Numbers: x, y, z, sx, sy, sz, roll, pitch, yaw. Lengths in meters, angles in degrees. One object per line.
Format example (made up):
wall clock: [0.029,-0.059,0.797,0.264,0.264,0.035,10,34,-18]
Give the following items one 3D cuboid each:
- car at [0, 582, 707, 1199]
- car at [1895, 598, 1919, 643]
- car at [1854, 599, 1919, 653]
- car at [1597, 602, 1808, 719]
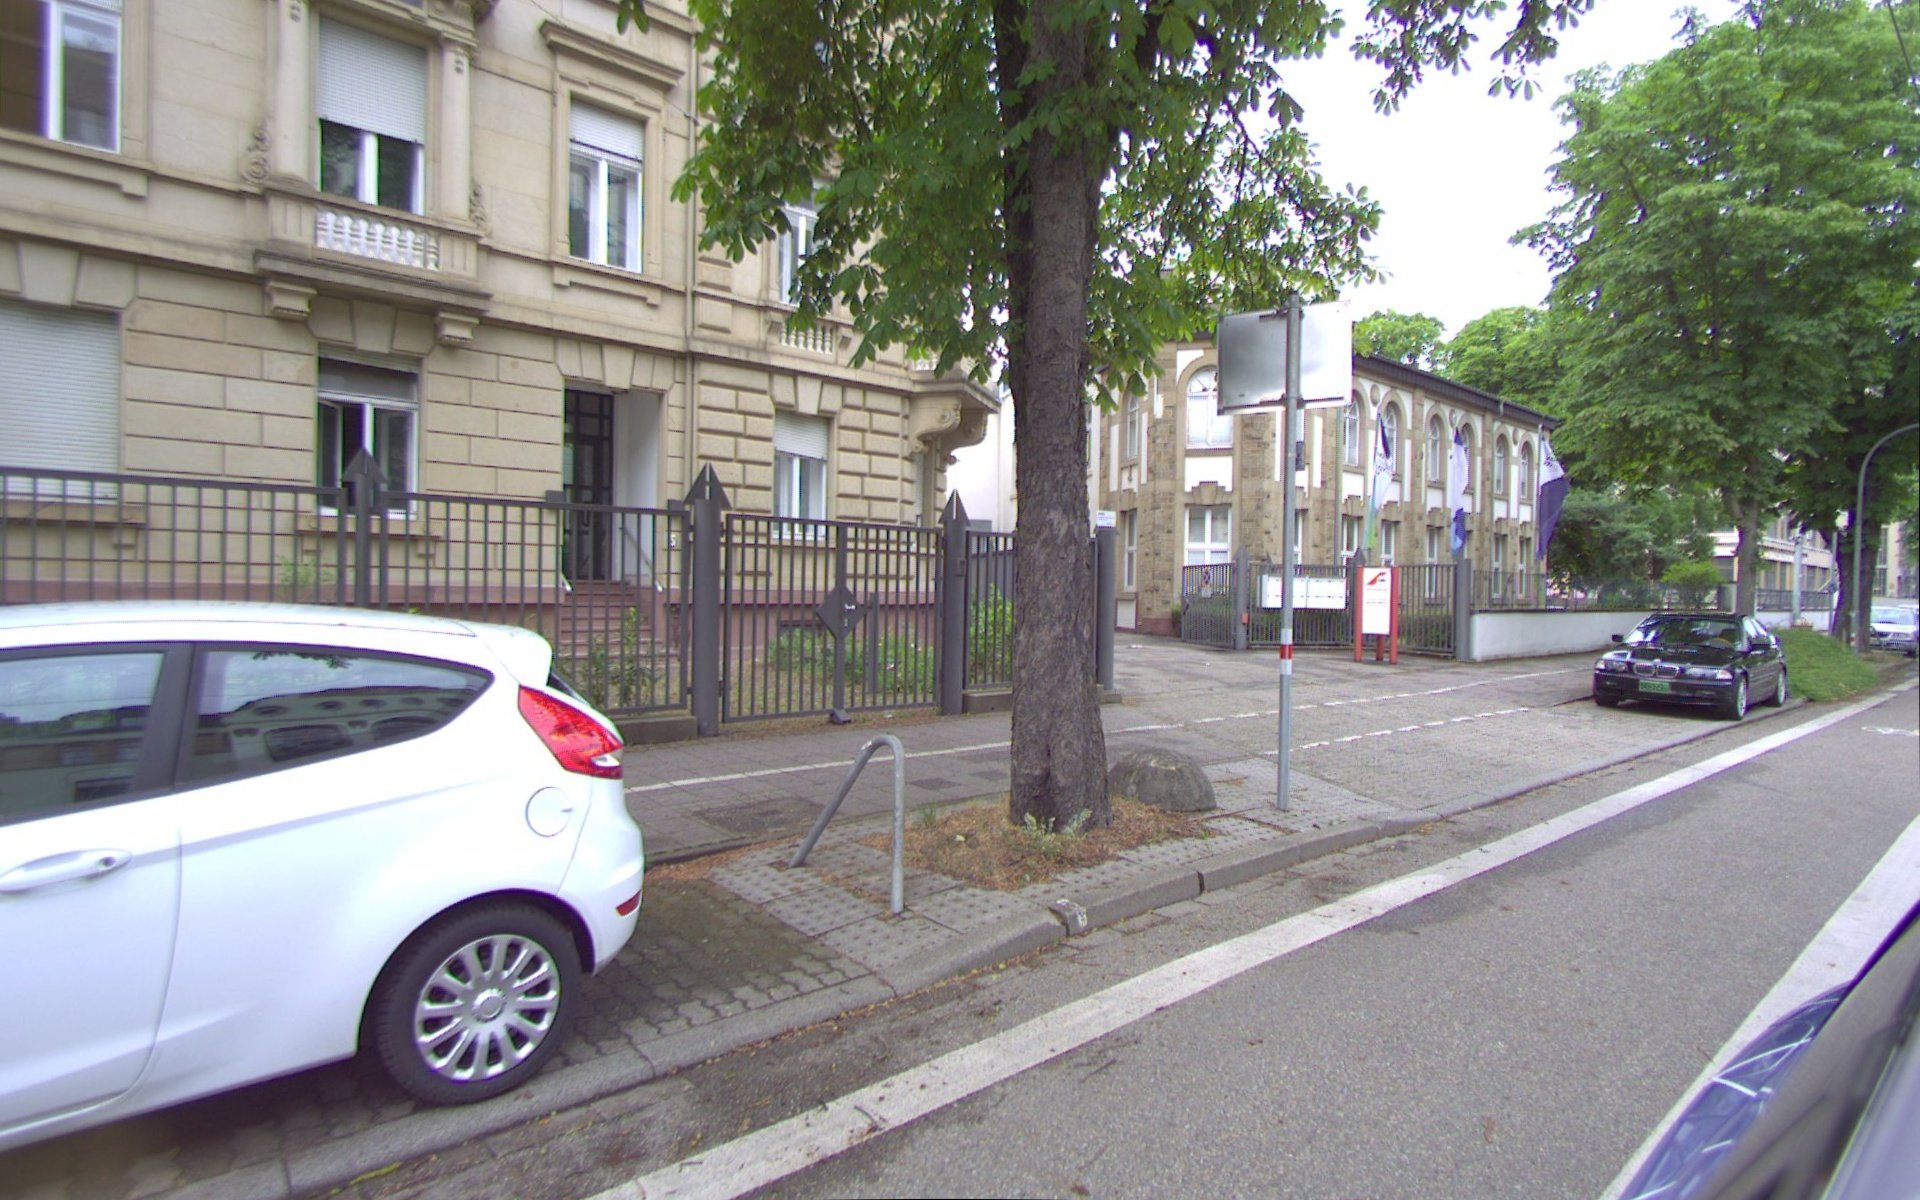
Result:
car: [-2.783,0.710,2.790,3.698,1.453,1.631,0,3,-41]
car: [32.723,0.696,33.889,3.769,1.442,1.606,0,3,-41]
car: [27.372,0.717,29.354,3.769,1.387,1.606,0,3,-41]
car: [10.789,0.769,14.618,3.769,1.387,1.606,0,3,-41]
